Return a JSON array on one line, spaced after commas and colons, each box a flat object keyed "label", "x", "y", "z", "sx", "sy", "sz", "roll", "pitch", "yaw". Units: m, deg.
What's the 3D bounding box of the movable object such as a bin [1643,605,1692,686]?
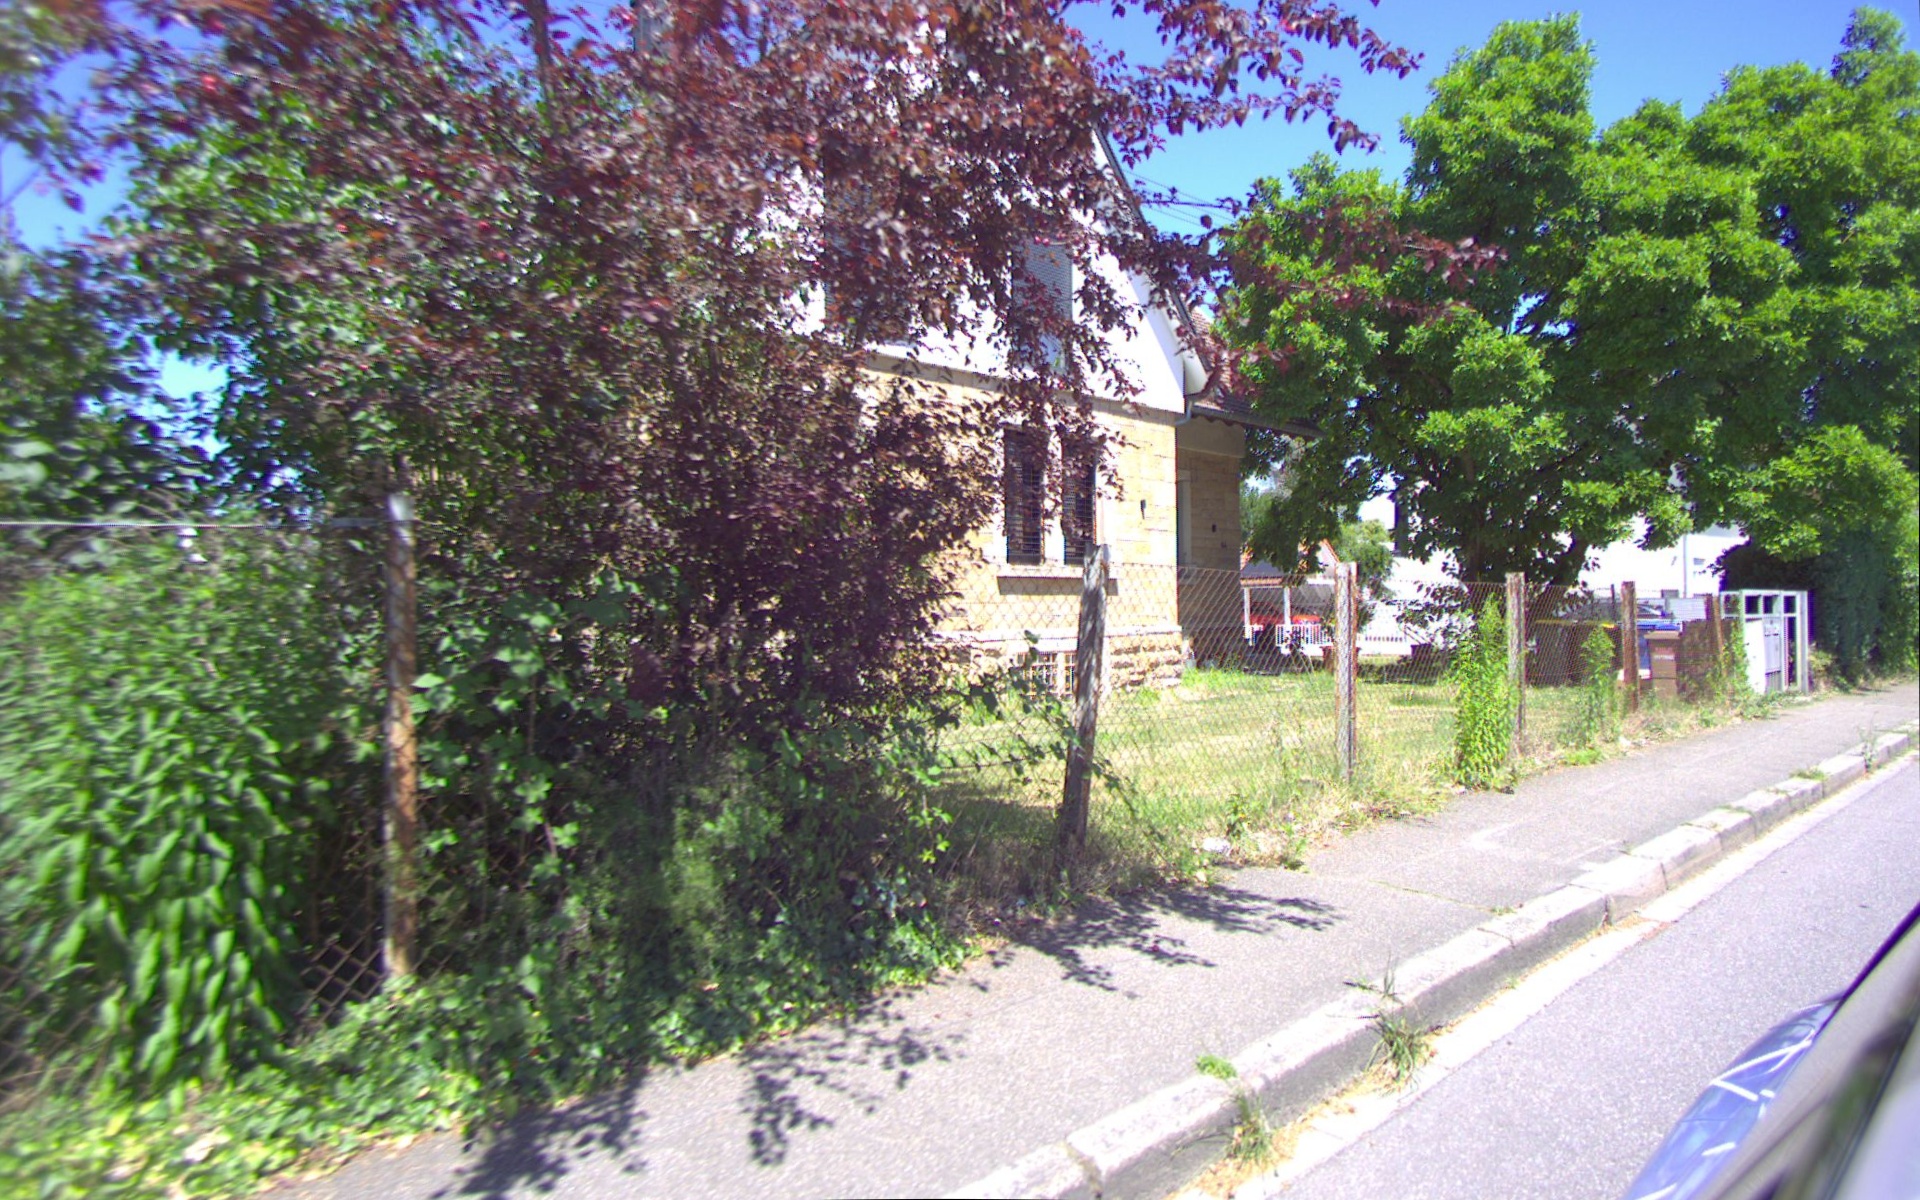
[{"label": "movable object such as a bin", "x": 9.756, "y": 0.618, "z": 13.960, "sx": 0.536, "sy": 1.077, "sz": 0.401, "roll": 1, "pitch": 0, "yaw": -38}]

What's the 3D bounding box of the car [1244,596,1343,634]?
[{"label": "car", "x": 13.166, "y": 0.554, "z": 40.025, "sx": 1.464, "sy": 1.406, "sz": 3.463, "roll": -1, "pitch": 1, "yaw": -41}]

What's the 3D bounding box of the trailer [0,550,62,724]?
[{"label": "trailer", "x": -12.153, "y": 0.497, "z": 11.586, "sx": 2.043, "sy": 1.958, "sz": 4.001, "roll": -6, "pitch": 3, "yaw": -33}]
